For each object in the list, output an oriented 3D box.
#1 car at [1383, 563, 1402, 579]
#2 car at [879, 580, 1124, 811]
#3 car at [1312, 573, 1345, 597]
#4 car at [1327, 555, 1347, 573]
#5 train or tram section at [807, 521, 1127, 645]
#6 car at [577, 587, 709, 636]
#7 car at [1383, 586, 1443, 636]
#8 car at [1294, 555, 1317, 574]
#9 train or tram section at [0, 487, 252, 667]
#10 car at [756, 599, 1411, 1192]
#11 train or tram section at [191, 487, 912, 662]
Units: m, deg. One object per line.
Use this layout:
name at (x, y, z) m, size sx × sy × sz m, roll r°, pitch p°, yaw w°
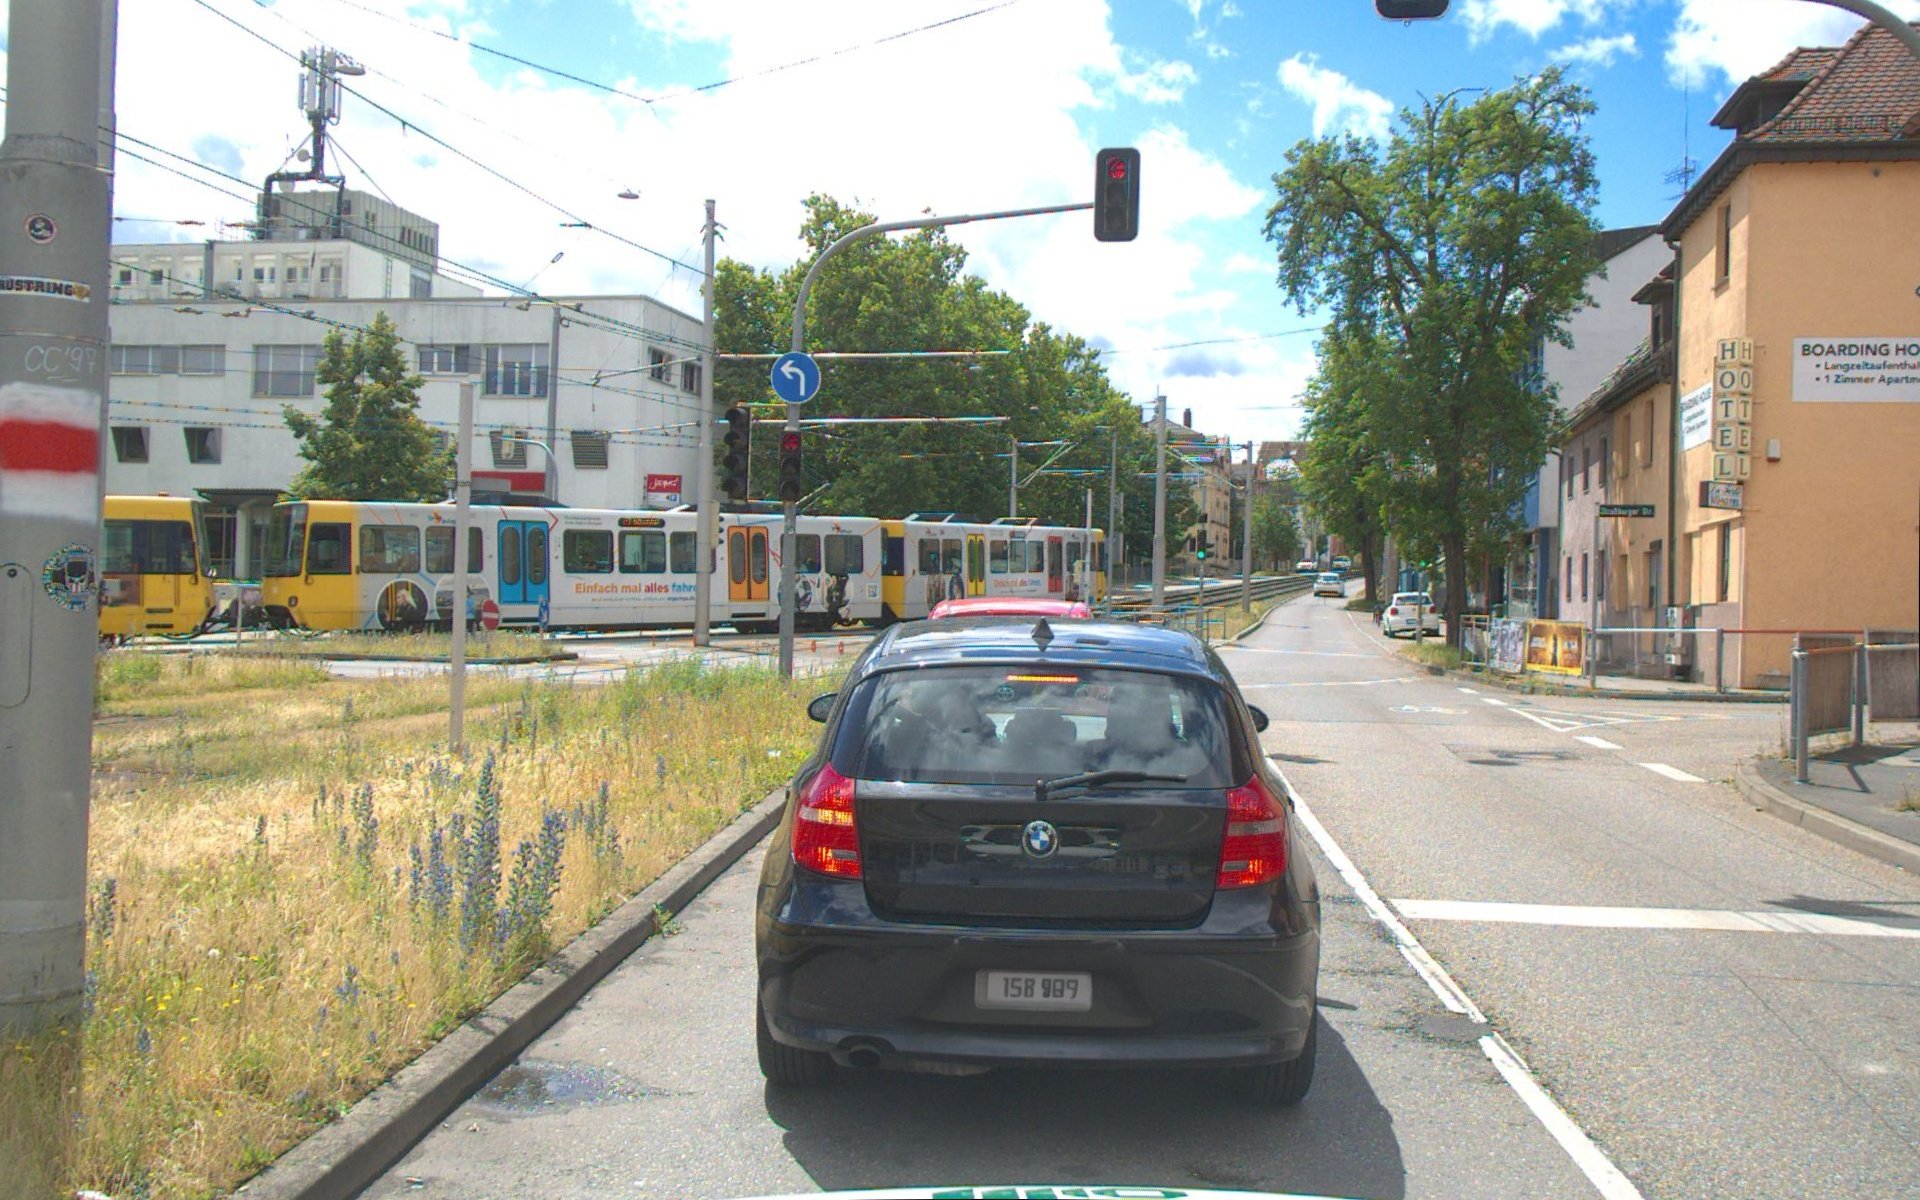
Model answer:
car at (42.303, -2.814, 161.828) m, size 1.777 × 1.494 × 4.003 m, roll 3°, pitch 1°, yaw 14°
car at (0.458, 0.643, 12.804) m, size 1.590 × 1.499 × 4.002 m, roll 0°, pitch -1°, yaw 6°
car at (23.964, -0.983, 107.553) m, size 1.777 × 1.494 × 4.002 m, roll 0°, pitch 0°, yaw 17°
car at (47.417, -4.494, 207.829) m, size 1.952 × 2.049 × 4.000 m, roll -1°, pitch -1°, yaw 21°
train or tram section at (1.050, -0.437, 61.536) m, size 3.675 × 3.881 × 20.033 m, roll -1°, pitch -1°, yaw 26°
car at (-10.777, 0.387, 56.418) m, size 4.136 × 1.613 × 1.829 m, roll 0°, pitch -1°, yaw -44°
car at (15.319, 0.366, 56.094) m, size 1.749 × 1.624 × 4.003 m, roll 0°, pitch -1°, yaw 12°
car at (39.415, -4.072, 188.403) m, size 1.952 × 2.049 × 4.000 m, roll -1°, pitch -1°, yaw 21°
train or tram section at (-26.139, -0.464, 35.646) m, size 19.794 × 3.896 × 3.738 m, roll 0°, pitch -1°, yaw -21°
car at (0.220, 0.763, 6.203) m, size 1.667 × 1.477 × 3.997 m, roll 0°, pitch -1°, yaw -3°
train or tram section at (-10.028, -0.509, 45.826) m, size 20.481 × 3.947 × 3.700 m, roll 0°, pitch -1°, yaw -45°
